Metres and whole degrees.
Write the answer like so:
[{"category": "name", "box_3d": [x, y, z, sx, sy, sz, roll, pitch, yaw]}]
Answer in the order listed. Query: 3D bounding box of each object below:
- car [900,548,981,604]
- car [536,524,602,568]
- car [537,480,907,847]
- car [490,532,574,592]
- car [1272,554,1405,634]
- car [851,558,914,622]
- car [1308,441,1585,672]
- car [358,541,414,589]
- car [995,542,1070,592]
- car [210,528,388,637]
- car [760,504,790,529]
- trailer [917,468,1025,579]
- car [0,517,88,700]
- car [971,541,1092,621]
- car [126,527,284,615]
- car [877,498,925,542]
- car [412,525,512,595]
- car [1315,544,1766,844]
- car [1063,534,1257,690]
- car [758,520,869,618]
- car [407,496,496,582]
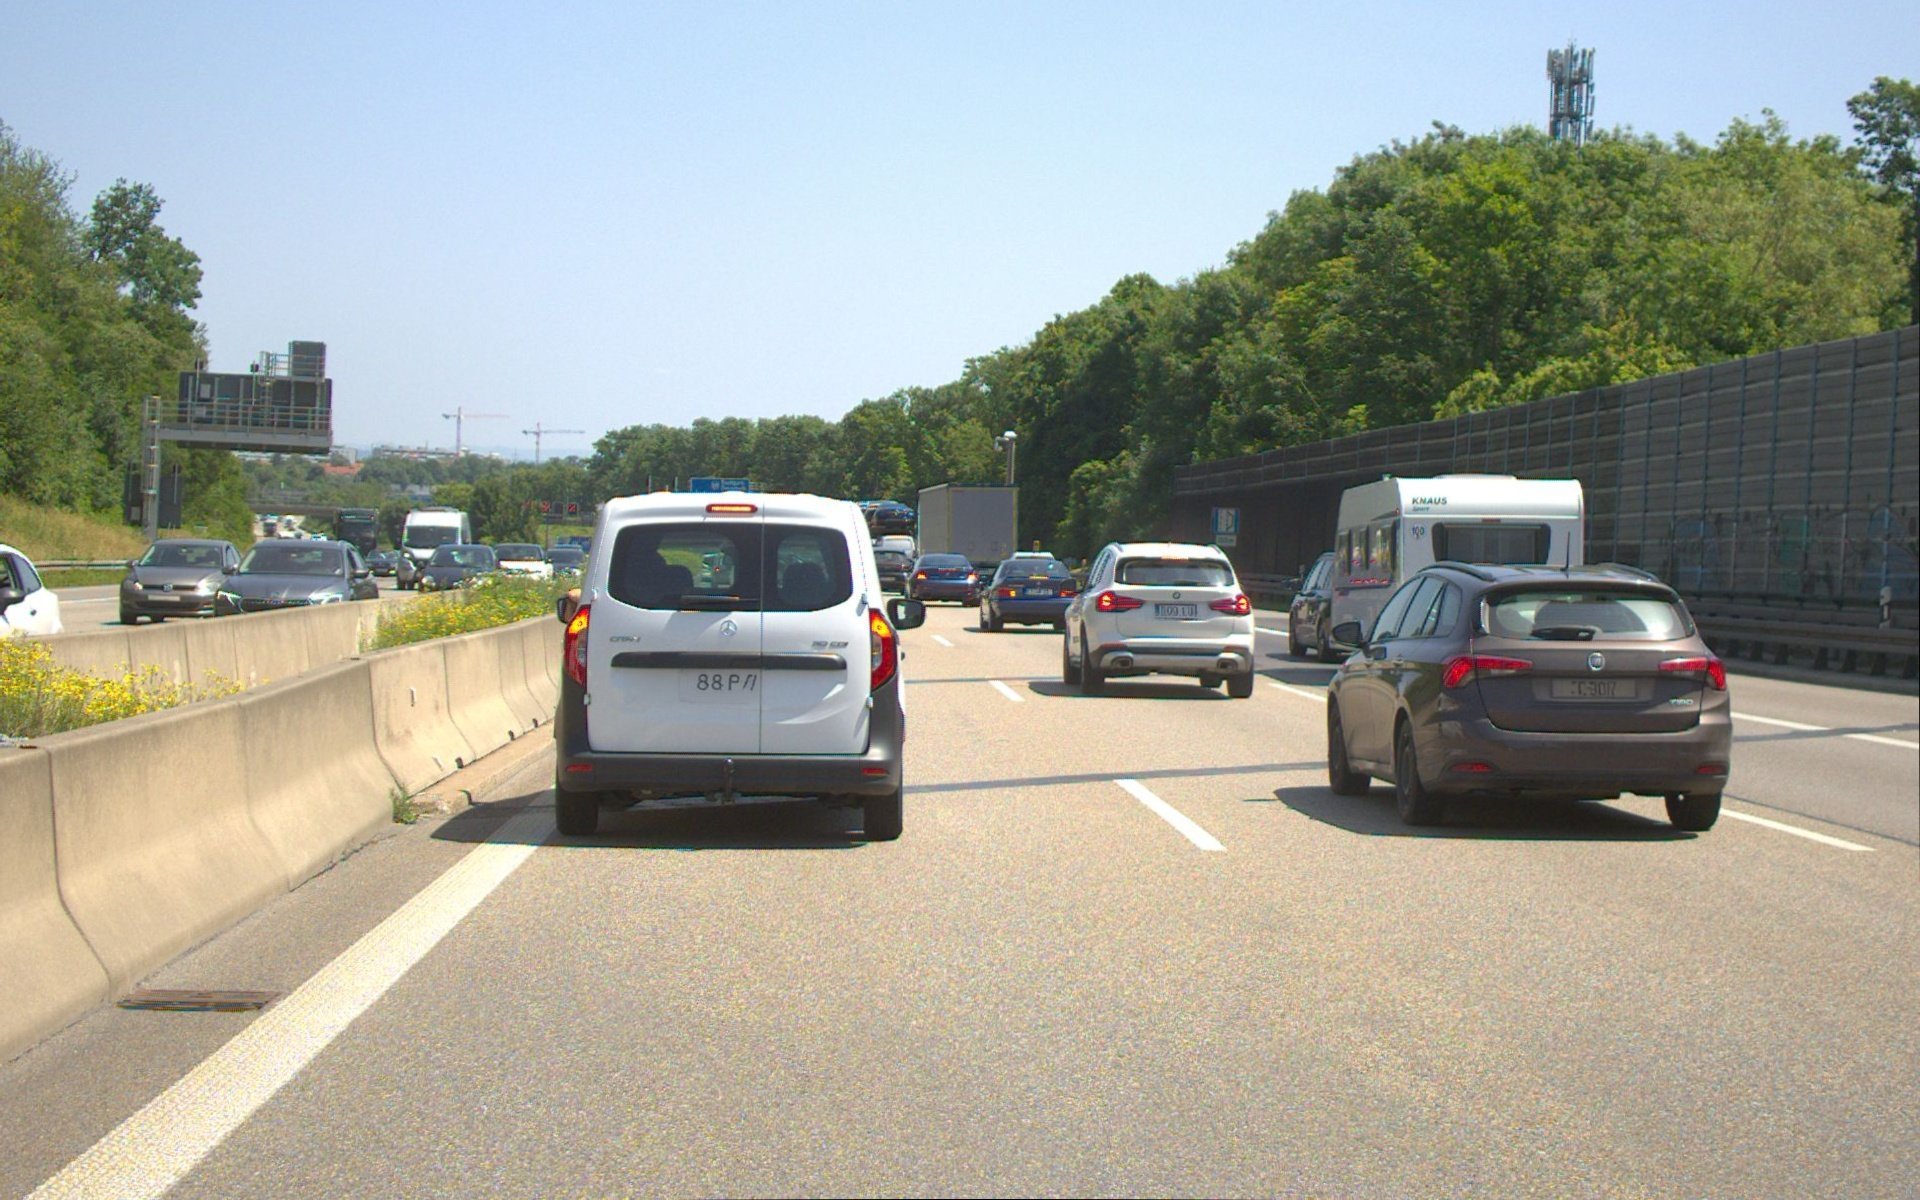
[{"category": "car", "box_3d": [-0.536, -0.643, 91.066, 1.824, 1.419, 4.001, 1, 1, -5]}, {"category": "car", "box_3d": [-13.159, -1.810, 115.761, 1.875, 1.406, 4.413, 1, 1, -2]}, {"category": "car", "box_3d": [-1.212, 0.284, 19.070, 1.802, 1.802, 4.000, 1, 1, -1]}, {"category": "car", "box_3d": [-11.353, -1.021, 91.360, 1.804, 1.521, 4.257, 1, 1, -2]}, {"category": "car", "box_3d": [7.063, -0.137, 64.515, 1.824, 1.419, 4.001, 1, 1, -3]}, {"category": "car", "box_3d": [-2.627, -0.366, 115.756, 1.824, 1.982, 4.001, -1, 3, -5]}, {"category": "car", "box_3d": [6.203, -0.567, 44.720, 2.478, 2.756, 6.220, 1, 1, -2]}, {"category": "car", "box_3d": [-24.836, -1.513, 148.800, 1.993, 2.007, 4.001, 1, 1, -4]}, {"category": "car", "box_3d": [2.179, -1.016, 104.340, 1.824, 1.419, 4.001, 1, 1, -5]}, {"category": "car", "box_3d": [-8.915, -0.259, 46.708, 1.731, 1.400, 4.612, 0, 1, -3]}, {"category": "car", "box_3d": [-13.101, -5.872, 243.321, 1.993, 1.722, 4.001, 1, 1, -5]}, {"category": "trailer", "box_3d": [0.334, -2.828, 129.774, 3.081, 3.972, 10.325, 1, 1, -5]}, {"category": "car", "box_3d": [-8.306, 0.046, 27.526, 1.632, 1.423, 4.036, 1, 1, 0]}, {"category": "car", "box_3d": [1.298, -0.371, 64.266, 1.824, 1.419, 4.001, 1, 1, -5]}, {"category": "car", "box_3d": [-12.829, -0.520, 58.635, 1.842, 1.415, 4.234, 1, 1, -2]}, {"category": "car", "box_3d": [-2.785, -3.768, 162.843, 1.993, 2.007, 4.001, 1, 1, -5]}, {"category": "car", "box_3d": [-10.593, -0.864, 73.339, 1.665, 1.423, 3.857, 1, 1, -2]}, {"category": "car", "box_3d": [3.285, 0.461, 20.316, 1.838, 1.508, 4.402, 1, 1, -1]}, {"category": "car", "box_3d": [2.198, 0.093, 38.698, 1.871, 1.603, 3.879, 1, 1, -1]}, {"category": "car", "box_3d": [-2.932, -0.615, 68.039, 1.993, 1.853, 4.001, 1, 1, -5]}, {"category": "car", "box_3d": [-16.557, -1.976, 112.248, 2.215, 2.692, 6.063, 1, 1, -2]}]
